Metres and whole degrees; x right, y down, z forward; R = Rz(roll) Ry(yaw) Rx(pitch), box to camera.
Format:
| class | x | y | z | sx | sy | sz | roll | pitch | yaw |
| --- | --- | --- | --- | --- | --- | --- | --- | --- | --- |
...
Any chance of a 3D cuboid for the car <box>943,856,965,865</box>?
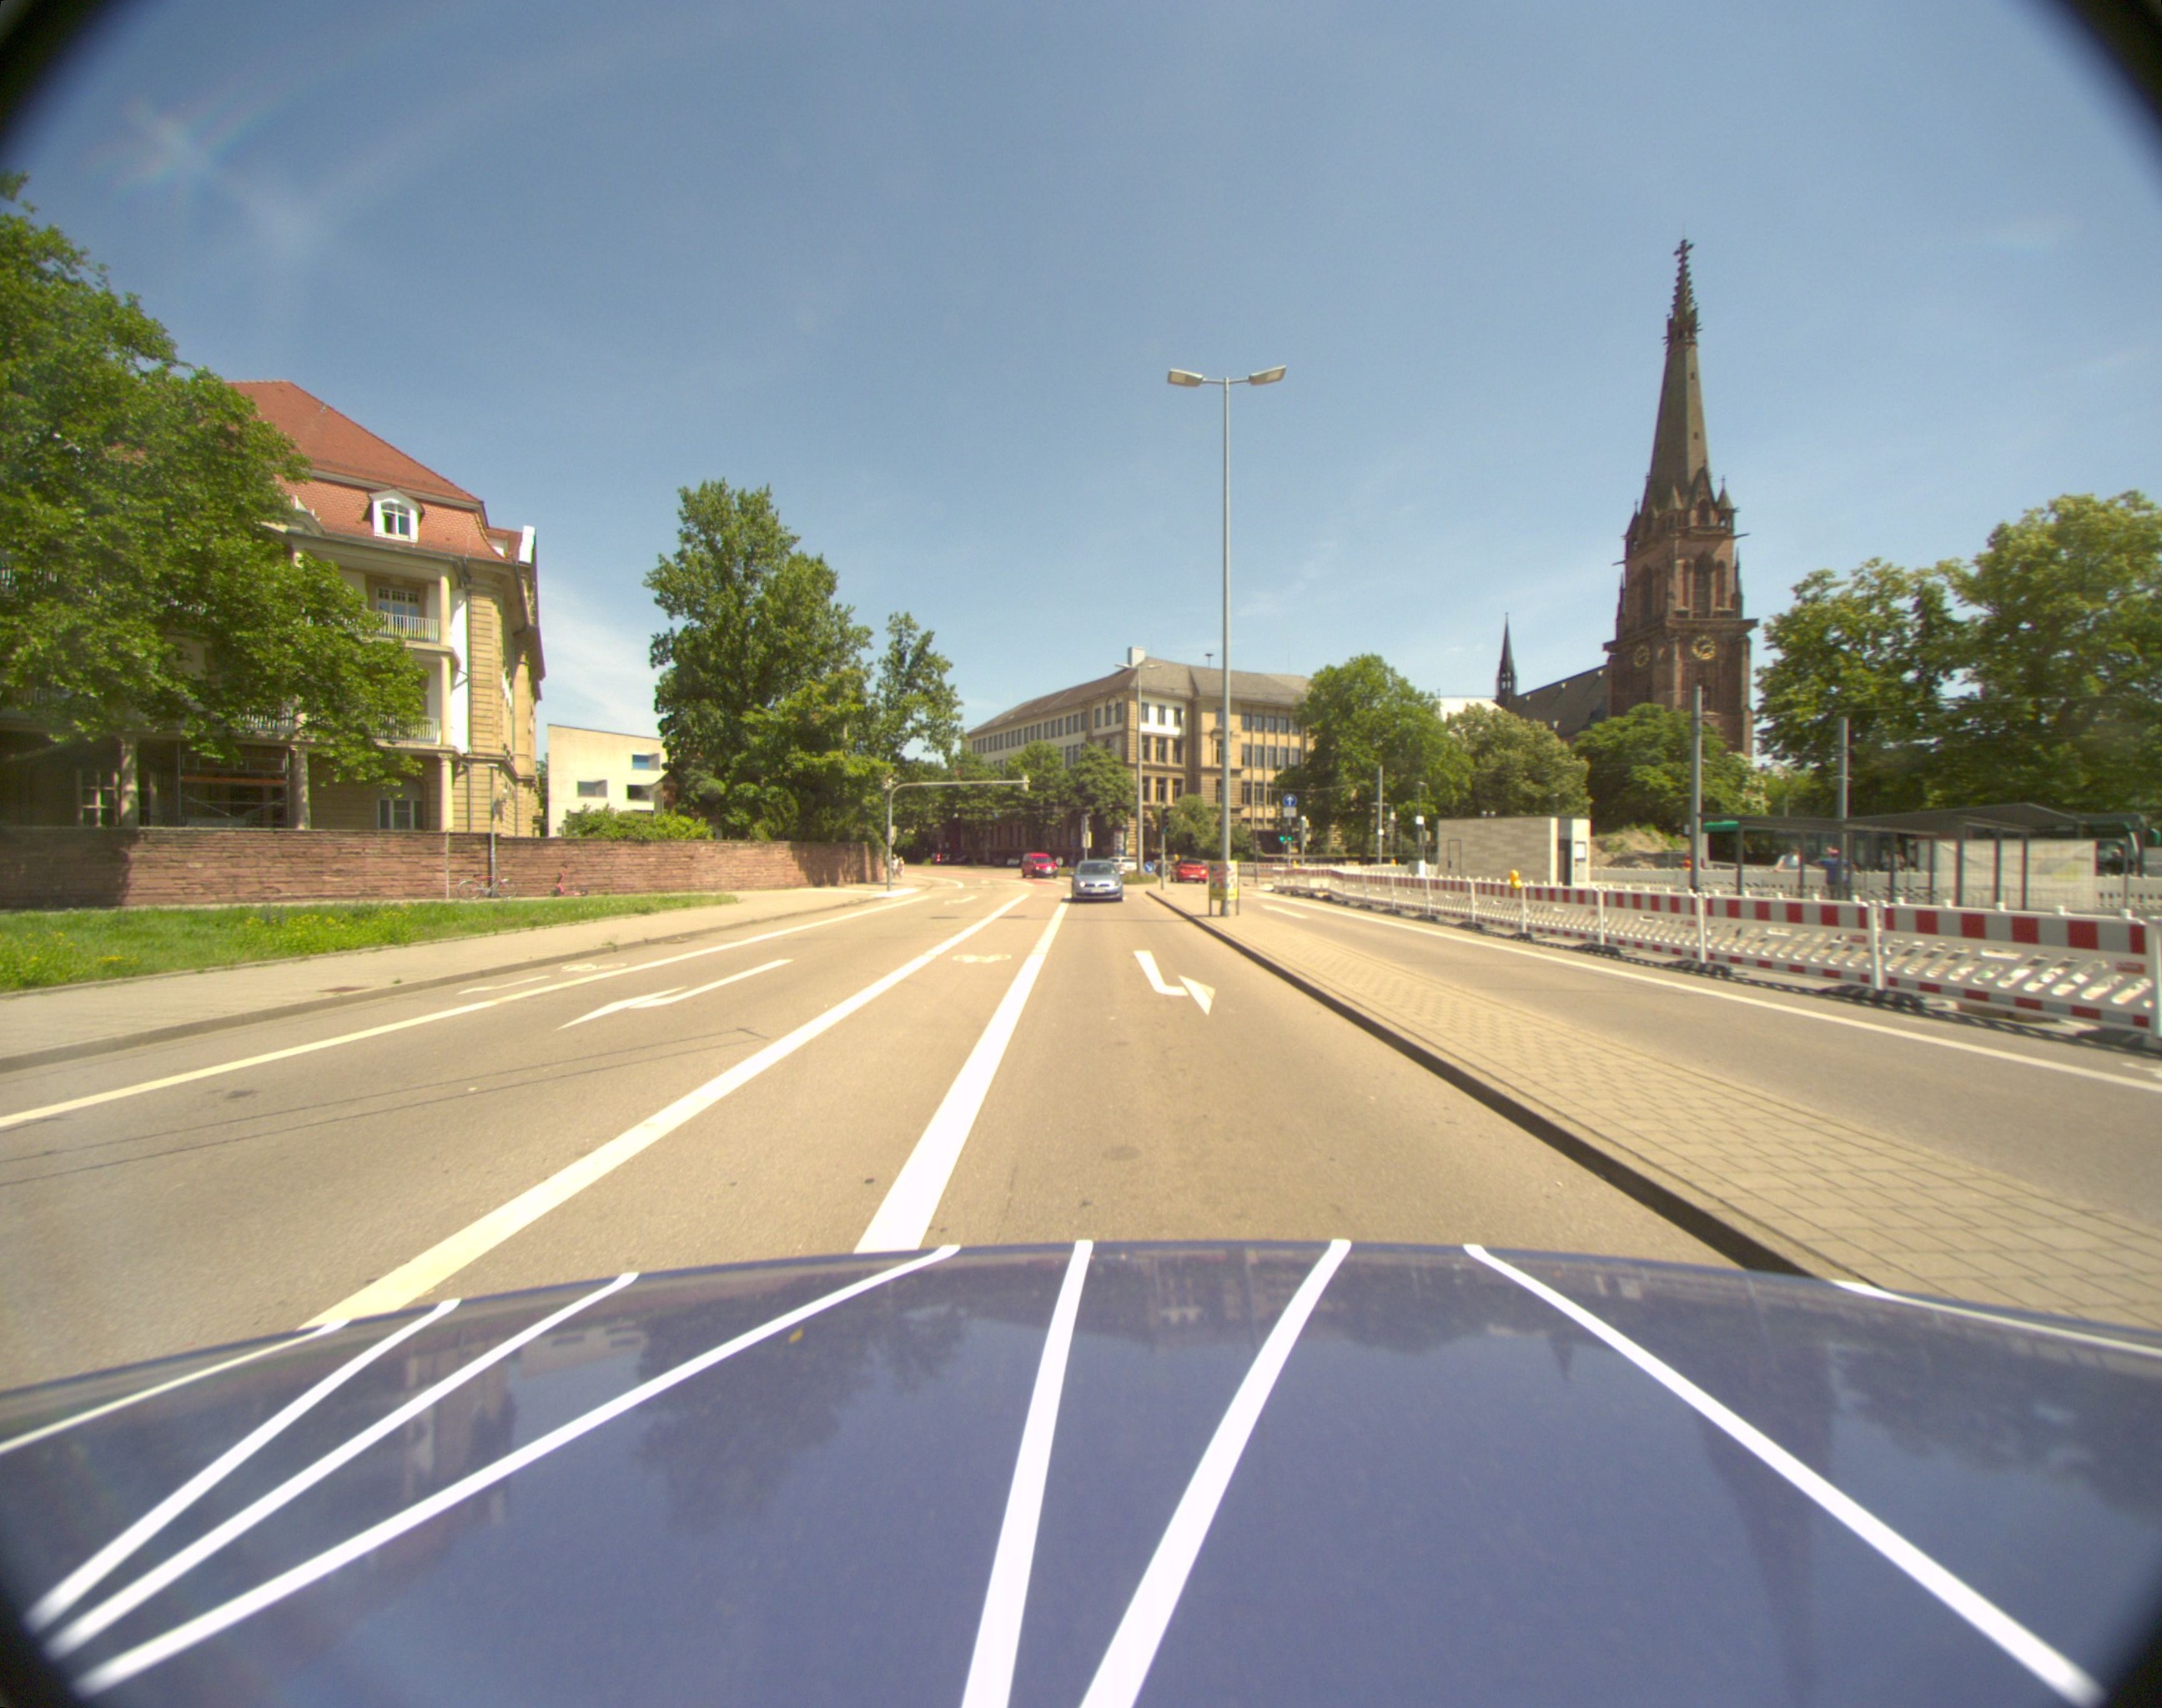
| class | x | y | z | sx | sy | sz | roll | pitch | yaw |
| --- | --- | --- | --- | --- | --- | --- | --- | --- | --- |
| car | -18.083 | 0.890 | 108.296 | 1.277 | 1.092 | 2.995 | -1 | 1 | 38 |

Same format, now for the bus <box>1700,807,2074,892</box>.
| class | x | y | z | sx | sy | sz | roll | pitch | yaw |
| --- | --- | --- | --- | --- | --- | --- | --- | --- | --- |
| bus | 33.383 | -0.148 | 32.313 | 2.860 | 3.036 | 10.577 | -3 | 1 | -33 |

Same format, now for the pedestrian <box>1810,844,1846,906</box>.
| class | x | y | z | sx | sy | sz | roll | pitch | yaw |
| --- | --- | --- | --- | --- | --- | --- | --- | --- | --- |
| pedestrian | 22.139 | 0.614 | 22.510 | 0.646 | 1.778 | 0.636 | -3 | 1 | -35 |

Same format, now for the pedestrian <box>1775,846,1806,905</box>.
| class | x | y | z | sx | sy | sz | roll | pitch | yaw |
| --- | --- | --- | --- | --- | --- | --- | --- | --- | --- |
| pedestrian | 21.573 | 0.648 | 23.108 | 0.542 | 1.746 | 0.657 | -3 | 2 | -44 |

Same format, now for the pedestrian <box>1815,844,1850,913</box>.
| class | x | y | z | sx | sy | sz | roll | pitch | yaw |
| --- | --- | --- | --- | --- | --- | --- | --- | --- | --- |
| pedestrian | 21.431 | 0.689 | 21.664 | 0.694 | 1.894 | 0.575 | -3 | 1 | -36 |

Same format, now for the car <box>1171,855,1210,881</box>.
| class | x | y | z | sx | sy | sz | roll | pitch | yaw |
| --- | --- | --- | --- | --- | --- | --- | --- | --- | --- |
| car | 6.384 | 0.809 | 44.642 | 1.692 | 1.370 | 4.013 | 2 | 1 | 1 |

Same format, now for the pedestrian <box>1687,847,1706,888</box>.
| class | x | y | z | sx | sy | sz | roll | pitch | yaw |
| --- | --- | --- | --- | --- | --- | --- | --- | --- | --- |
| pedestrian | 26.402 | 0.573 | 32.596 | 0.564 | 1.691 | 0.582 | -1 | 1 | 37 |

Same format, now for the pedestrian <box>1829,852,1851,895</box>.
| class | x | y | z | sx | sy | sz | roll | pitch | yaw |
| --- | --- | --- | --- | --- | --- | --- | --- | --- | --- |
| pedestrian | 29.975 | 0.773 | 29.997 | 0.628 | 1.645 | 0.545 | -3 | 1 | -39 |

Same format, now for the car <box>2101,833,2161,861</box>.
| class | x | y | z | sx | sy | sz | roll | pitch | yaw |
| --- | --- | --- | --- | --- | --- | --- | --- | --- | --- |
| car | 64.139 | -0.415 | 44.898 | 1.783 | 1.593 | 4.239 | -2 | 1 | -14 |

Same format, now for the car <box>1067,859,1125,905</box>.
| class | x | y | z | sx | sy | sz | roll | pitch | yaw |
| --- | --- | --- | --- | --- | --- | --- | --- | --- | --- |
| car | 0.510 | 0.893 | 26.240 | 1.832 | 1.406 | 3.994 | 0 | 0 | 1 |

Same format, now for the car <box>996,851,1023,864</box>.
| class | x | y | z | sx | sy | sz | roll | pitch | yaw |
| --- | --- | --- | --- | --- | --- | --- | --- | --- | --- |
| car | -8.993 | 0.420 | 95.054 | 1.567 | 1.454 | 3.156 | -1 | 1 | 38 |

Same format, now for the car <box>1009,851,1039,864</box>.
| class | x | y | z | sx | sy | sz | roll | pitch | yaw |
| --- | --- | --- | --- | --- | --- | --- | --- | --- | --- |
| car | -7.005 | 0.457 | 93.038 | 1.567 | 1.412 | 3.559 | -1 | 1 | 40 |

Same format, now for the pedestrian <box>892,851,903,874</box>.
| class | x | y | z | sx | sy | sz | roll | pitch | yaw |
| --- | --- | --- | --- | --- | --- | --- | --- | --- | --- |
| pedestrian | -13.834 | 0.676 | 57.369 | 0.606 | 1.702 | 0.557 | 2 | -1 | -32 |

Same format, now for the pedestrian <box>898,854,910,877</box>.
| class | x | y | z | sx | sy | sz | roll | pitch | yaw |
| --- | --- | --- | --- | --- | --- | --- | --- | --- | --- |
| pedestrian | -12.493 | 0.814 | 53.642 | 0.606 | 1.601 | 0.557 | 2 | -1 | -31 |

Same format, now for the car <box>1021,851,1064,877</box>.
| class | x | y | z | sx | sy | sz | roll | pitch | yaw |
| --- | --- | --- | --- | --- | --- | --- | --- | --- | --- |
| car | -2.845 | 0.696 | 55.661 | 1.835 | 1.756 | 4.271 | -2 | 1 | -21 |

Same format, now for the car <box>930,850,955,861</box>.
| class | x | y | z | sx | sy | sz | roll | pitch | yaw |
| --- | --- | --- | --- | --- | --- | --- | --- | --- | --- |
| car | -20.413 | 0.265 | 112.106 | 1.611 | 1.444 | 3.585 | -1 | 1 | 28 |

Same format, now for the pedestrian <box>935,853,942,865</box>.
| class | x | y | z | sx | sy | sz | roll | pitch | yaw |
| --- | --- | --- | --- | --- | --- | --- | --- | --- | --- |
| pedestrian | -19.497 | 0.648 | 104.019 | 0.725 | 1.661 | 0.642 | 0 | 1 | -29 |

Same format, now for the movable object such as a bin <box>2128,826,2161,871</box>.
| class | x | y | z | sx | sy | sz | roll | pitch | yaw |
| --- | --- | --- | --- | --- | --- | --- | --- | --- | --- |
| movable object such as a bin | 82.961 | -0.436 | 54.994 | 2.910 | 3.369 | 7.965 | -2 | 1 | -15 |

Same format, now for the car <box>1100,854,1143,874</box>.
| class | x | y | z | sx | sy | sz | roll | pitch | yaw |
| --- | --- | --- | --- | --- | --- | --- | --- | --- | --- |
| car | 3.246 | 0.790 | 61.470 | 1.823 | 1.420 | 4.418 | 1 | 0 | -21 |

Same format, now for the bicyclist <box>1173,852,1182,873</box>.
| class | x | y | z | sx | sy | sz | roll | pitch | yaw |
| --- | --- | --- | --- | --- | --- | --- | --- | --- | --- |
| bicyclist | 7.783 | 0.711 | 61.394 | 0.587 | 1.655 | 0.798 | 2 | 1 | -3 |

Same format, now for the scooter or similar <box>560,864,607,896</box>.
| class | x | y | z | sx | sy | sz | roll | pitch | yaw |
| --- | --- | --- | --- | --- | --- | --- | --- | --- | --- |
| scooter or similar | -18.491 | 0.957 | 28.248 | 0.373 | 1.102 | 1.352 | -1 | 1 | 39 |

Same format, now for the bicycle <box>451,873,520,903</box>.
| class | x | y | z | sx | sy | sz | roll | pitch | yaw |
| --- | --- | --- | --- | --- | --- | --- | --- | --- | --- |
| bicycle | -20.346 | 1.146 | 25.977 | 1.778 | 0.923 | 0.677 | -3 | 1 | -44 |

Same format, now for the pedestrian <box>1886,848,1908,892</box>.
| class | x | y | z | sx | sy | sz | roll | pitch | yaw |
| --- | --- | --- | --- | --- | --- | --- | --- | --- | --- |
| pedestrian | 30.781 | 0.597 | 28.674 | 0.538 | 1.611 | 0.519 | -3 | 2 | -39 |

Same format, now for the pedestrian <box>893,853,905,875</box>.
| class | x | y | z | sx | sy | sz | roll | pitch | yaw |
| --- | --- | --- | --- | --- | --- | --- | --- | --- | --- |
| pedestrian | -13.257 | 0.751 | 55.371 | 0.606 | 1.601 | 0.557 | 2 | -1 | -31 |
